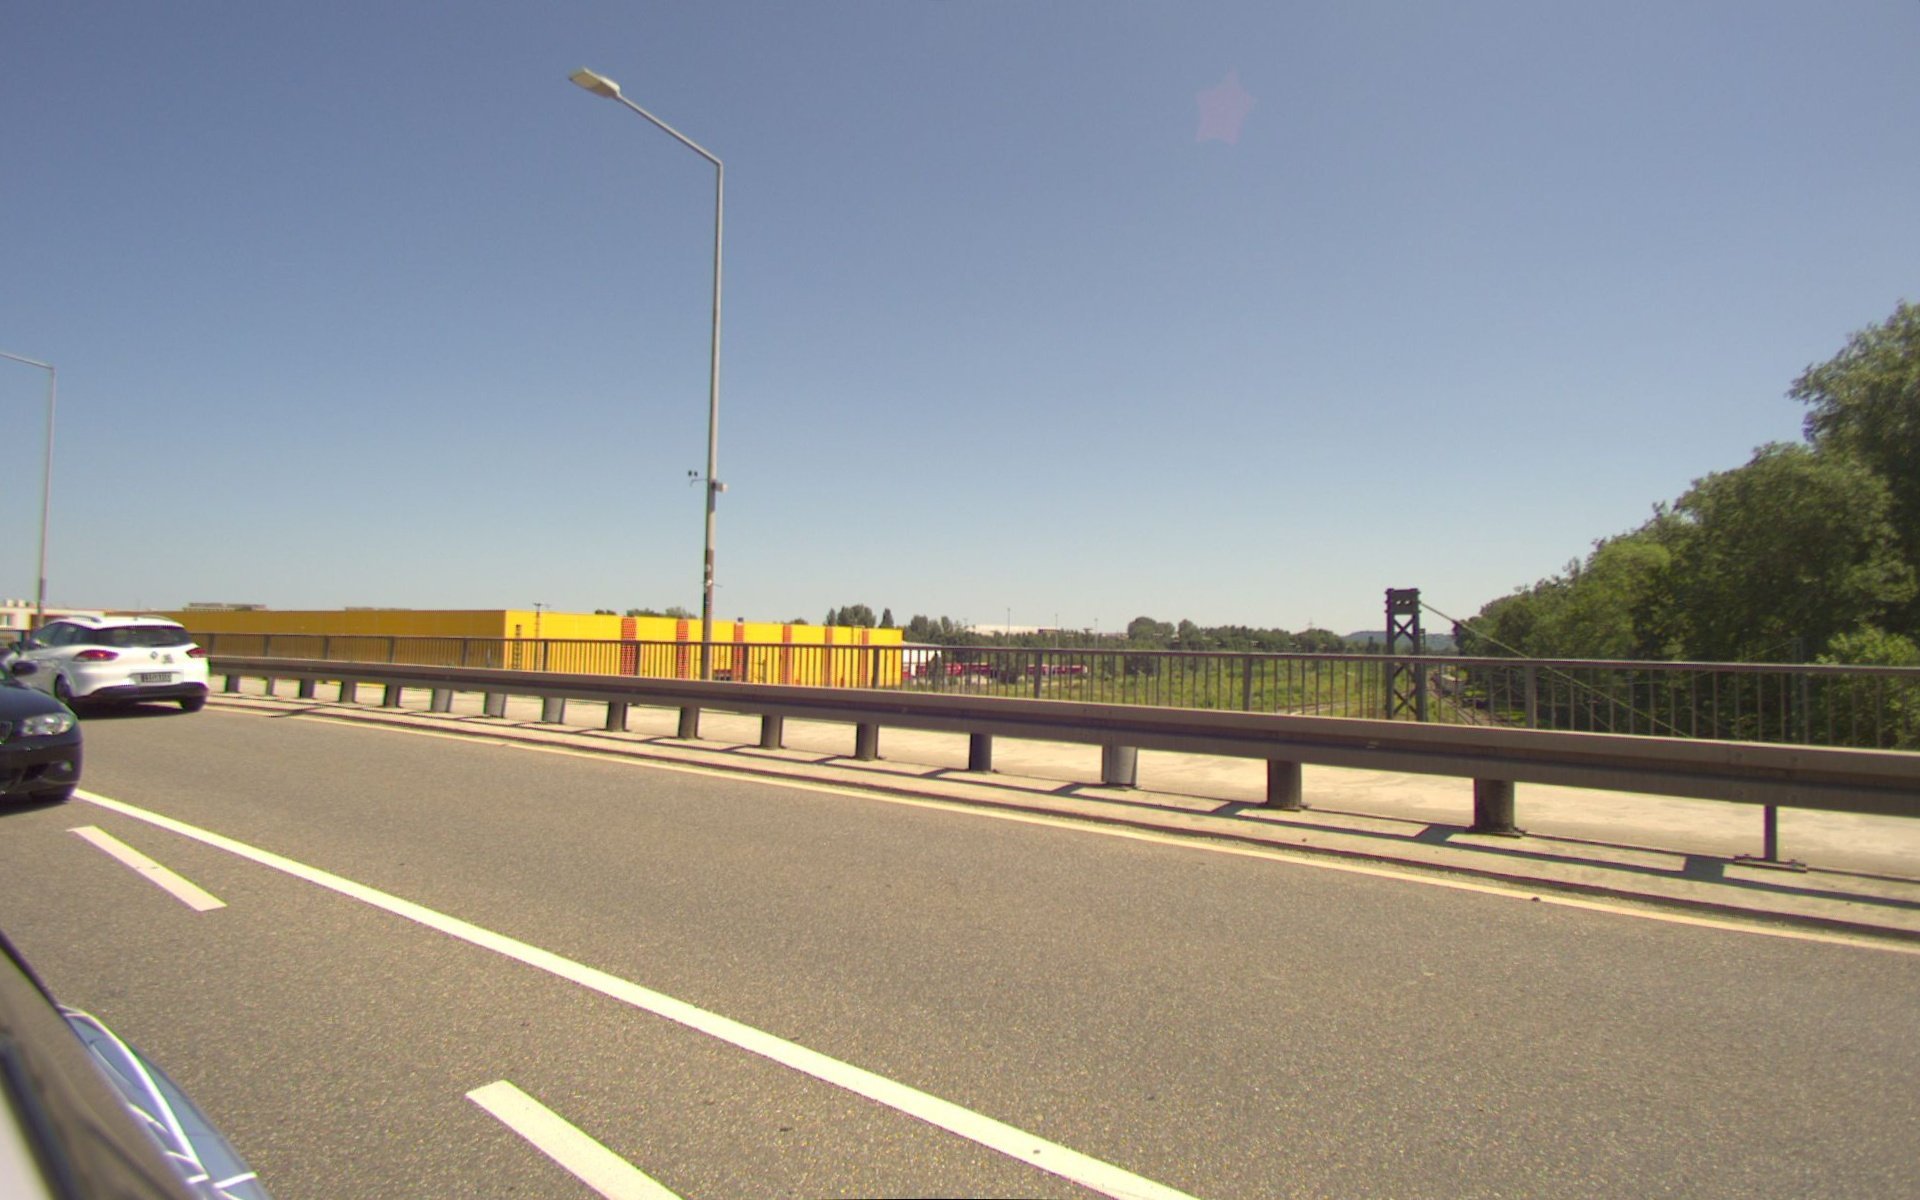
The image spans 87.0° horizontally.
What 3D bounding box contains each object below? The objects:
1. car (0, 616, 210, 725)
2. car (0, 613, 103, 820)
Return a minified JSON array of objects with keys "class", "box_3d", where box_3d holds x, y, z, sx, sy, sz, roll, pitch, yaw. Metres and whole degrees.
[{"class":"car","box_3d":[-13.196,0.978,15.406,4.044,1.460,1.586,-1,-1,34]},{"class":"car","box_3d":[-8.817,0.848,8.217,4.513,1.466,1.774,-1,-1,35]}]
